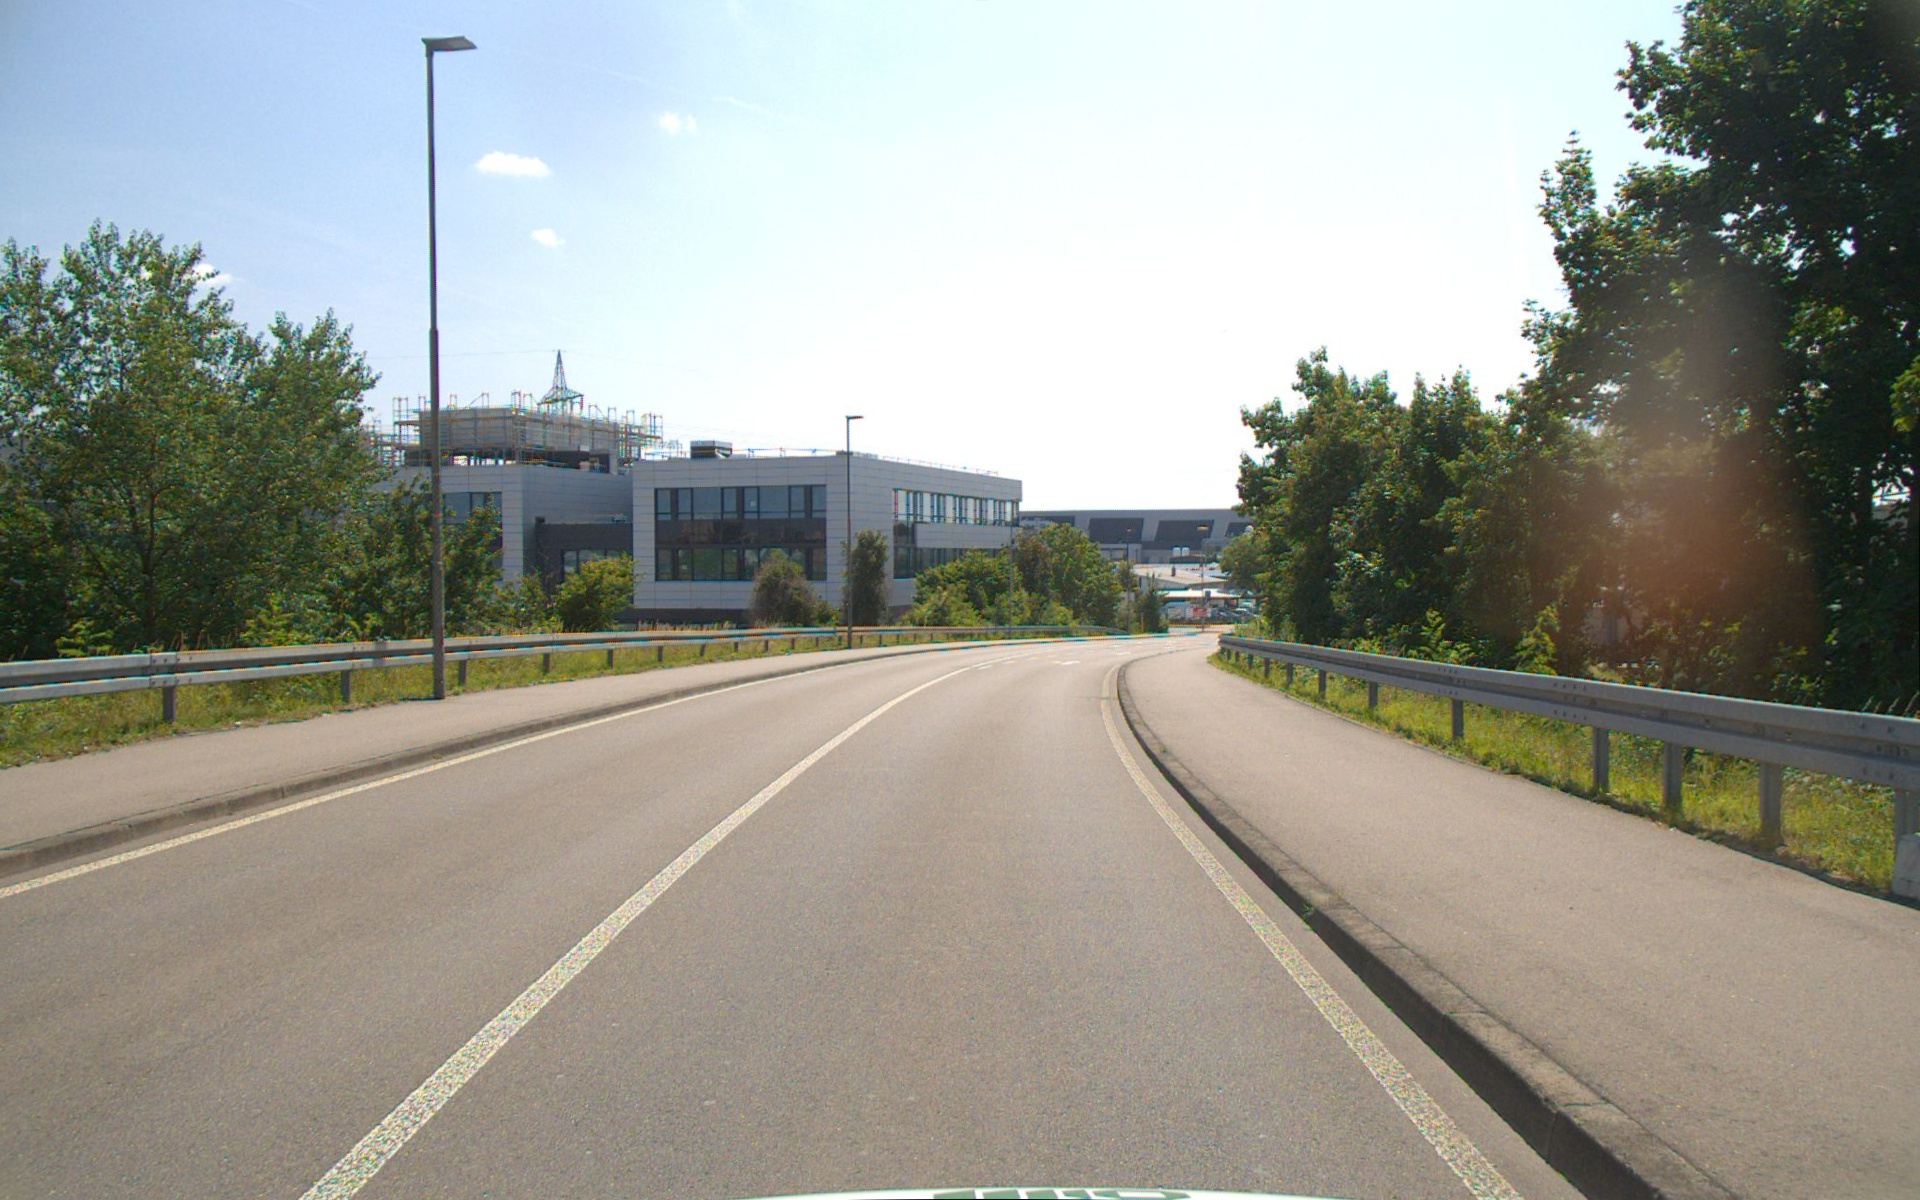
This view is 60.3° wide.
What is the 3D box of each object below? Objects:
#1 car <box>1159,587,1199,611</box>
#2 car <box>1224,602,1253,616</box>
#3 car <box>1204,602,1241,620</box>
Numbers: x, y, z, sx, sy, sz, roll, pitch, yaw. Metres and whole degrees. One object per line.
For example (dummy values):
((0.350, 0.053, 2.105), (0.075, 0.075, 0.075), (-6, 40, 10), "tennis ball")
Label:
((25.200, -0.111, 190.509), (1.983, 2.654, 4.299), (1, 0, -42), "car")
((38.071, 1.193, 226.359), (3.902, 1.882, 1.836), (0, 0, 9), "car")
((30.886, 1.327, 194.893), (1.984, 1.936, 3.937), (-1, 3, -43), "car")
